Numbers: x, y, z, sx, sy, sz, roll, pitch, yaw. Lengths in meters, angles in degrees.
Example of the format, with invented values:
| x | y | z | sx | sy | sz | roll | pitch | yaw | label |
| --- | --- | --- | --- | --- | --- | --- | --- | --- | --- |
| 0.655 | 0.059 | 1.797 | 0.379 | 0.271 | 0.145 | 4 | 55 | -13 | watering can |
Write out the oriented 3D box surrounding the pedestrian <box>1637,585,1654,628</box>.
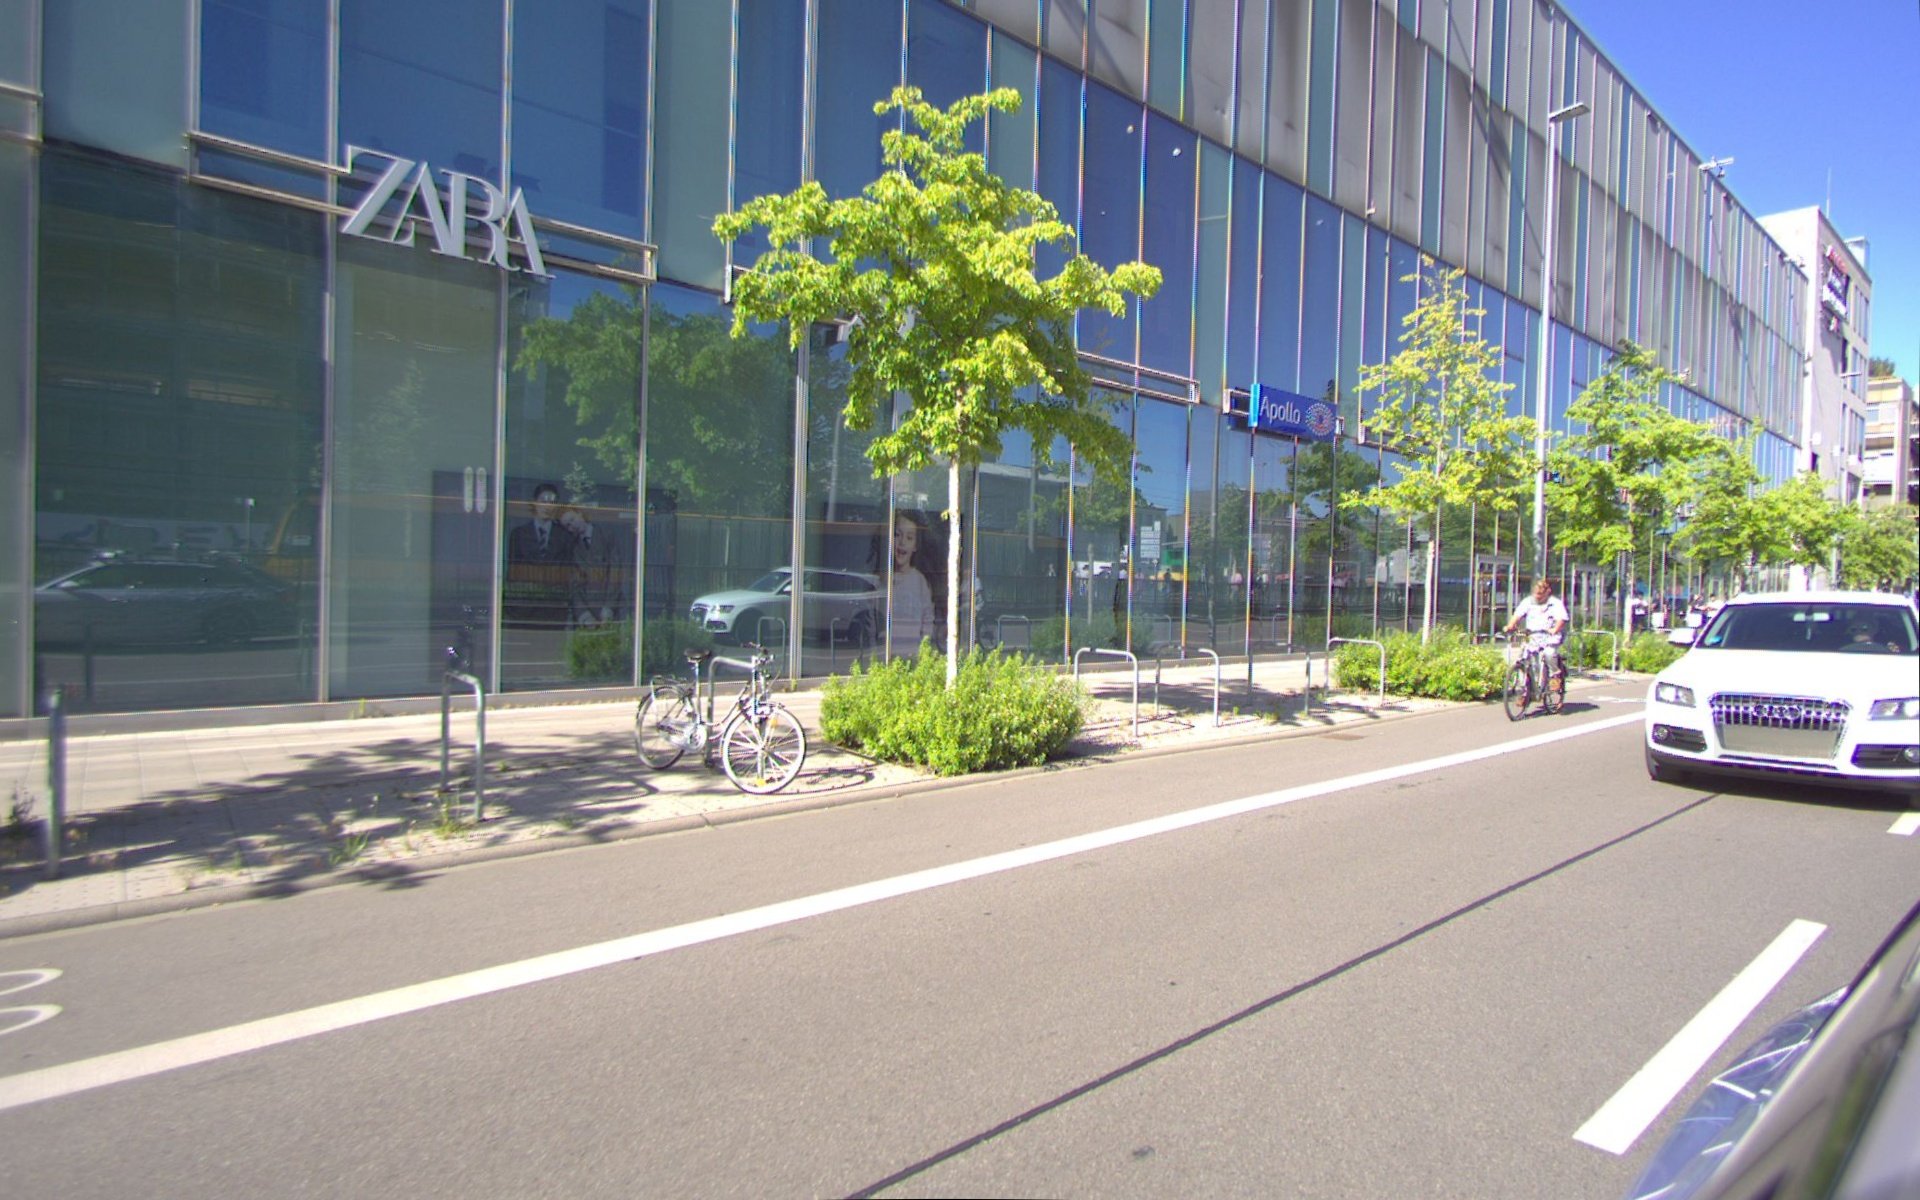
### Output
| x | y | z | sx | sy | sz | roll | pitch | yaw | label |
| --- | --- | --- | --- | --- | --- | --- | --- | --- | --- |
| 25.575 | 0.239 | 37.763 | 0.282 | 1.620 | 0.450 | 1 | 0 | -40 | pedestrian |

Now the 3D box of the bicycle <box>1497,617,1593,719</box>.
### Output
| x | y | z | sx | sy | sz | roll | pitch | yaw | label |
| --- | --- | --- | --- | --- | --- | --- | --- | --- | --- |
| 7.595 | 0.834 | 13.098 | 0.608 | 1.165 | 1.956 | 1 | 1 | 44 | bicycle |

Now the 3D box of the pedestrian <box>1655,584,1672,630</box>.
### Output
| x | y | z | sx | sy | sz | roll | pitch | yaw | label |
| --- | --- | --- | --- | --- | --- | --- | --- | --- | --- |
| 26.045 | 0.253 | 37.469 | 0.339 | 1.712 | 0.450 | 1 | 0 | -40 | pedestrian |

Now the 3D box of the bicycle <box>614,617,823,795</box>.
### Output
| x | y | z | sx | sy | sz | roll | pitch | yaw | label |
| --- | --- | --- | --- | --- | --- | --- | --- | --- | --- |
| -1.855 | 0.742 | 7.640 | 1.729 | 1.075 | 0.462 | 5 | 3 | 35 | bicycle |

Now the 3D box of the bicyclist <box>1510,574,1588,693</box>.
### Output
| x | y | z | sx | sy | sz | roll | pitch | yaw | label |
| --- | --- | --- | --- | --- | --- | --- | --- | --- | --- |
| 7.637 | 0.410 | 13.129 | 0.754 | 1.480 | 0.578 | 1 | 1 | 45 | bicyclist |

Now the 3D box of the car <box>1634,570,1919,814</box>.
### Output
| x | y | z | sx | sy | sz | roll | pitch | yaw | label |
| --- | --- | --- | --- | --- | --- | --- | --- | --- | --- |
| 7.476 | 0.621 | 8.738 | 3.933 | 1.654 | 1.931 | 0 | 0 | -43 | car |

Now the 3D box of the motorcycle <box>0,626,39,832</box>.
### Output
| x | y | z | sx | sy | sz | roll | pitch | yaw | label |
| --- | --- | --- | --- | --- | --- | --- | --- | --- | --- |
| -5.349 | 0.747 | 4.839 | 0.630 | 1.095 | 1.886 | 1 | 3 | -16 | motorcycle |
